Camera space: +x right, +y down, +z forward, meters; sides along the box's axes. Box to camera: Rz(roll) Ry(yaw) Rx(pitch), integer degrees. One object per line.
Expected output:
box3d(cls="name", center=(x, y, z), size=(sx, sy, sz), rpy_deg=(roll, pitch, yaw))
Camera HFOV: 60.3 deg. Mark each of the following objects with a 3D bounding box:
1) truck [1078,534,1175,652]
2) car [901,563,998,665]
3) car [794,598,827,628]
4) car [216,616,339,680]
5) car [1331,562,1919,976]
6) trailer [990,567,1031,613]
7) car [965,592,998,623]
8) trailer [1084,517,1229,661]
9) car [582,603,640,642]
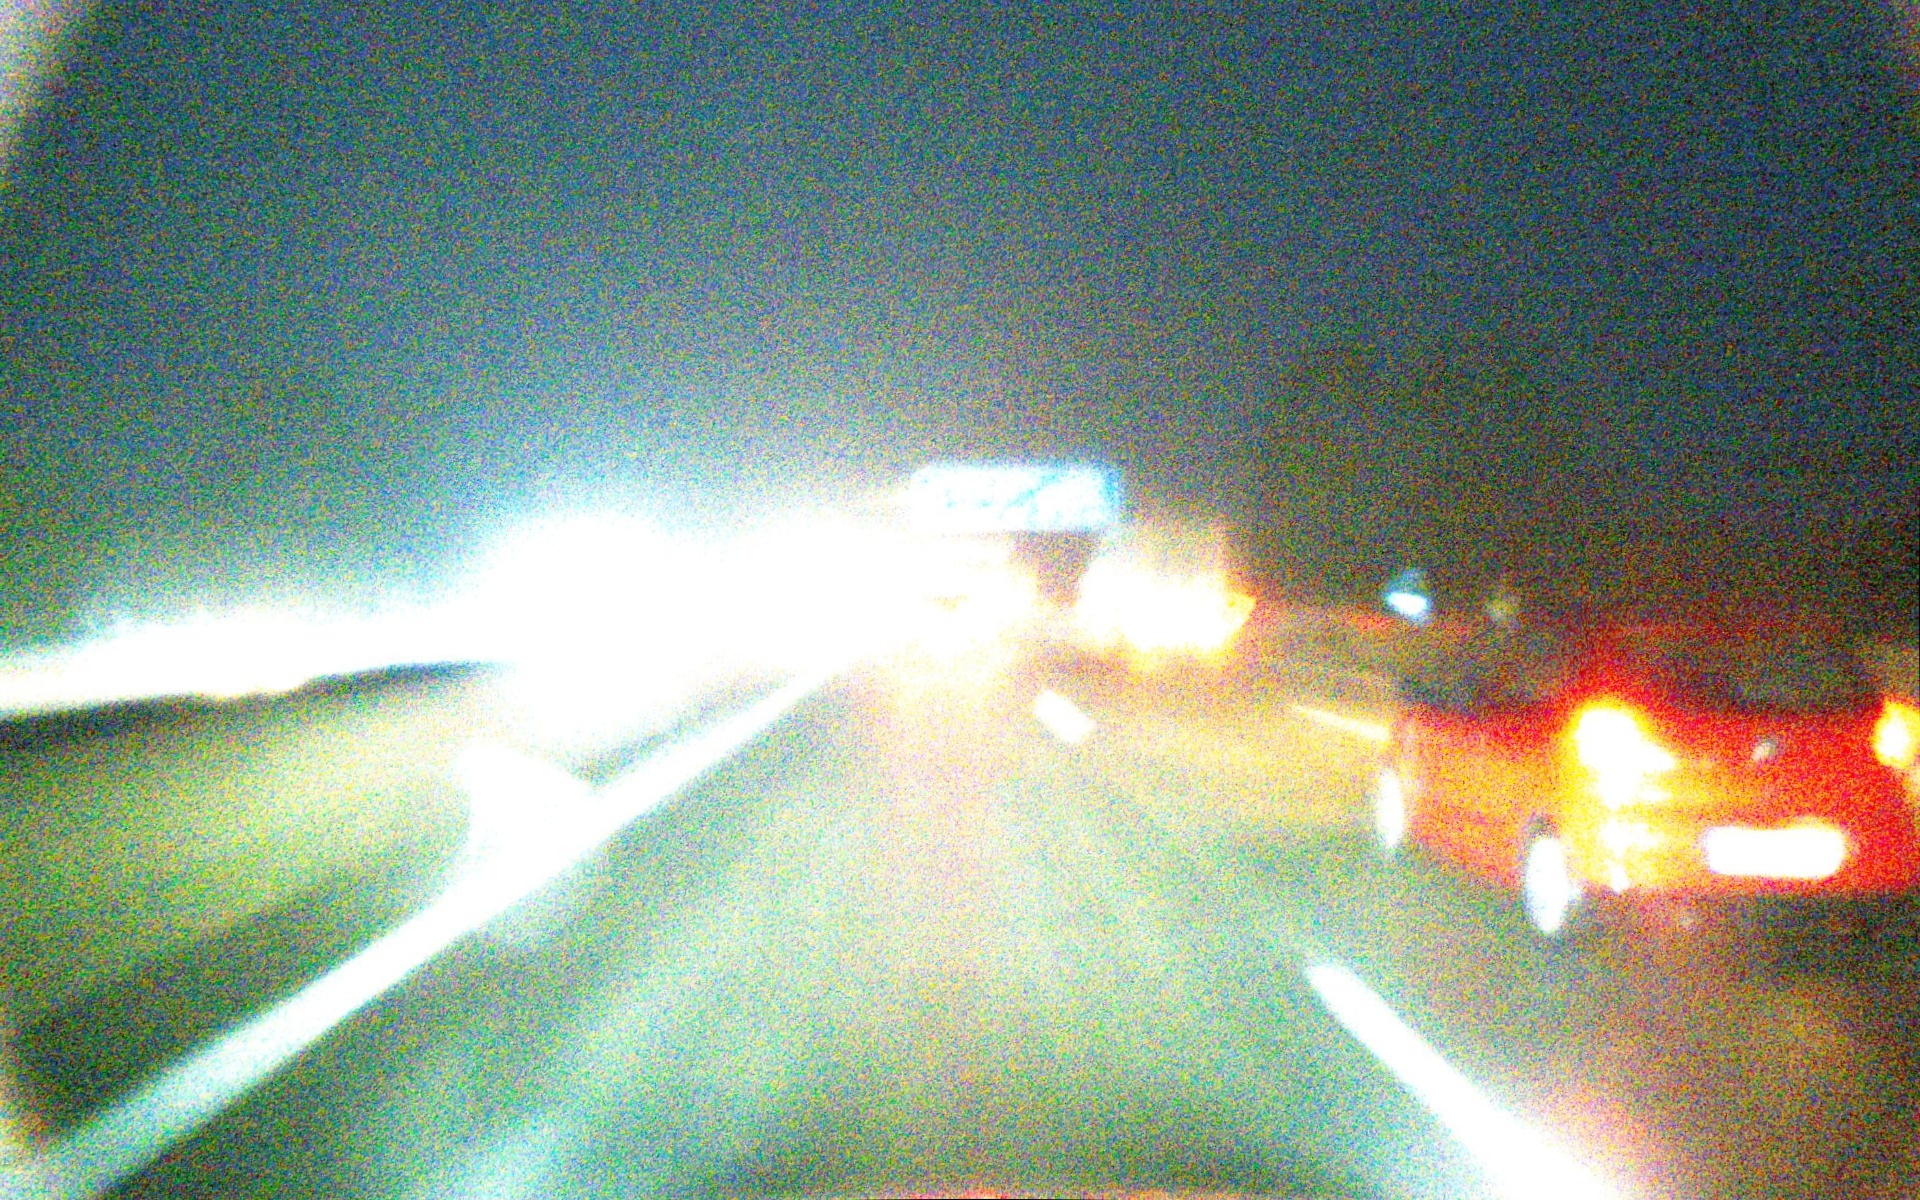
box3d(cls="truck", center=(6.238, -0.235, 62.875), size=(2.844, 4.180, 6.029), rpy_deg=(-1, 0, -1))
box3d(cls="car", center=(-0.262, 0.326, 35.791), size=(1.953, 2.049, 3.998), rpy_deg=(1, -1, -2))
box3d(cls="car", center=(-10.522, 0.888, 116.561), size=(1.953, 2.049, 4.450), rpy_deg=(-1, 0, -1))
box3d(cls="car", center=(-20.477, 1.405, 49.819), size=(1.953, 1.744, 4.245), rpy_deg=(-1, 0, -1))
box3d(cls="car", center=(3.359, 0.684, 8.702), size=(1.705, 1.603, 4.492), rpy_deg=(0, -1, -1))
box3d(cls="trailer", center=(4.988, -0.935, 166.160), size=(2.980, 4.180, 13.820), rpy_deg=(-2, -1, -2))
box3d(cls="car", center=(1.488, 0.532, 116.574), size=(1.954, 2.049, 3.996), rpy_deg=(-2, -1, -4))
box3d(cls="trailer", center=(6.361, -0.287, 56.308), size=(2.844, 4.180, 14.483), rpy_deg=(-1, 0, -1))
box3d(cls="car", center=(-17.172, 1.091, 81.587), size=(1.953, 1.790, 4.590), rpy_deg=(-1, 0, -1))
